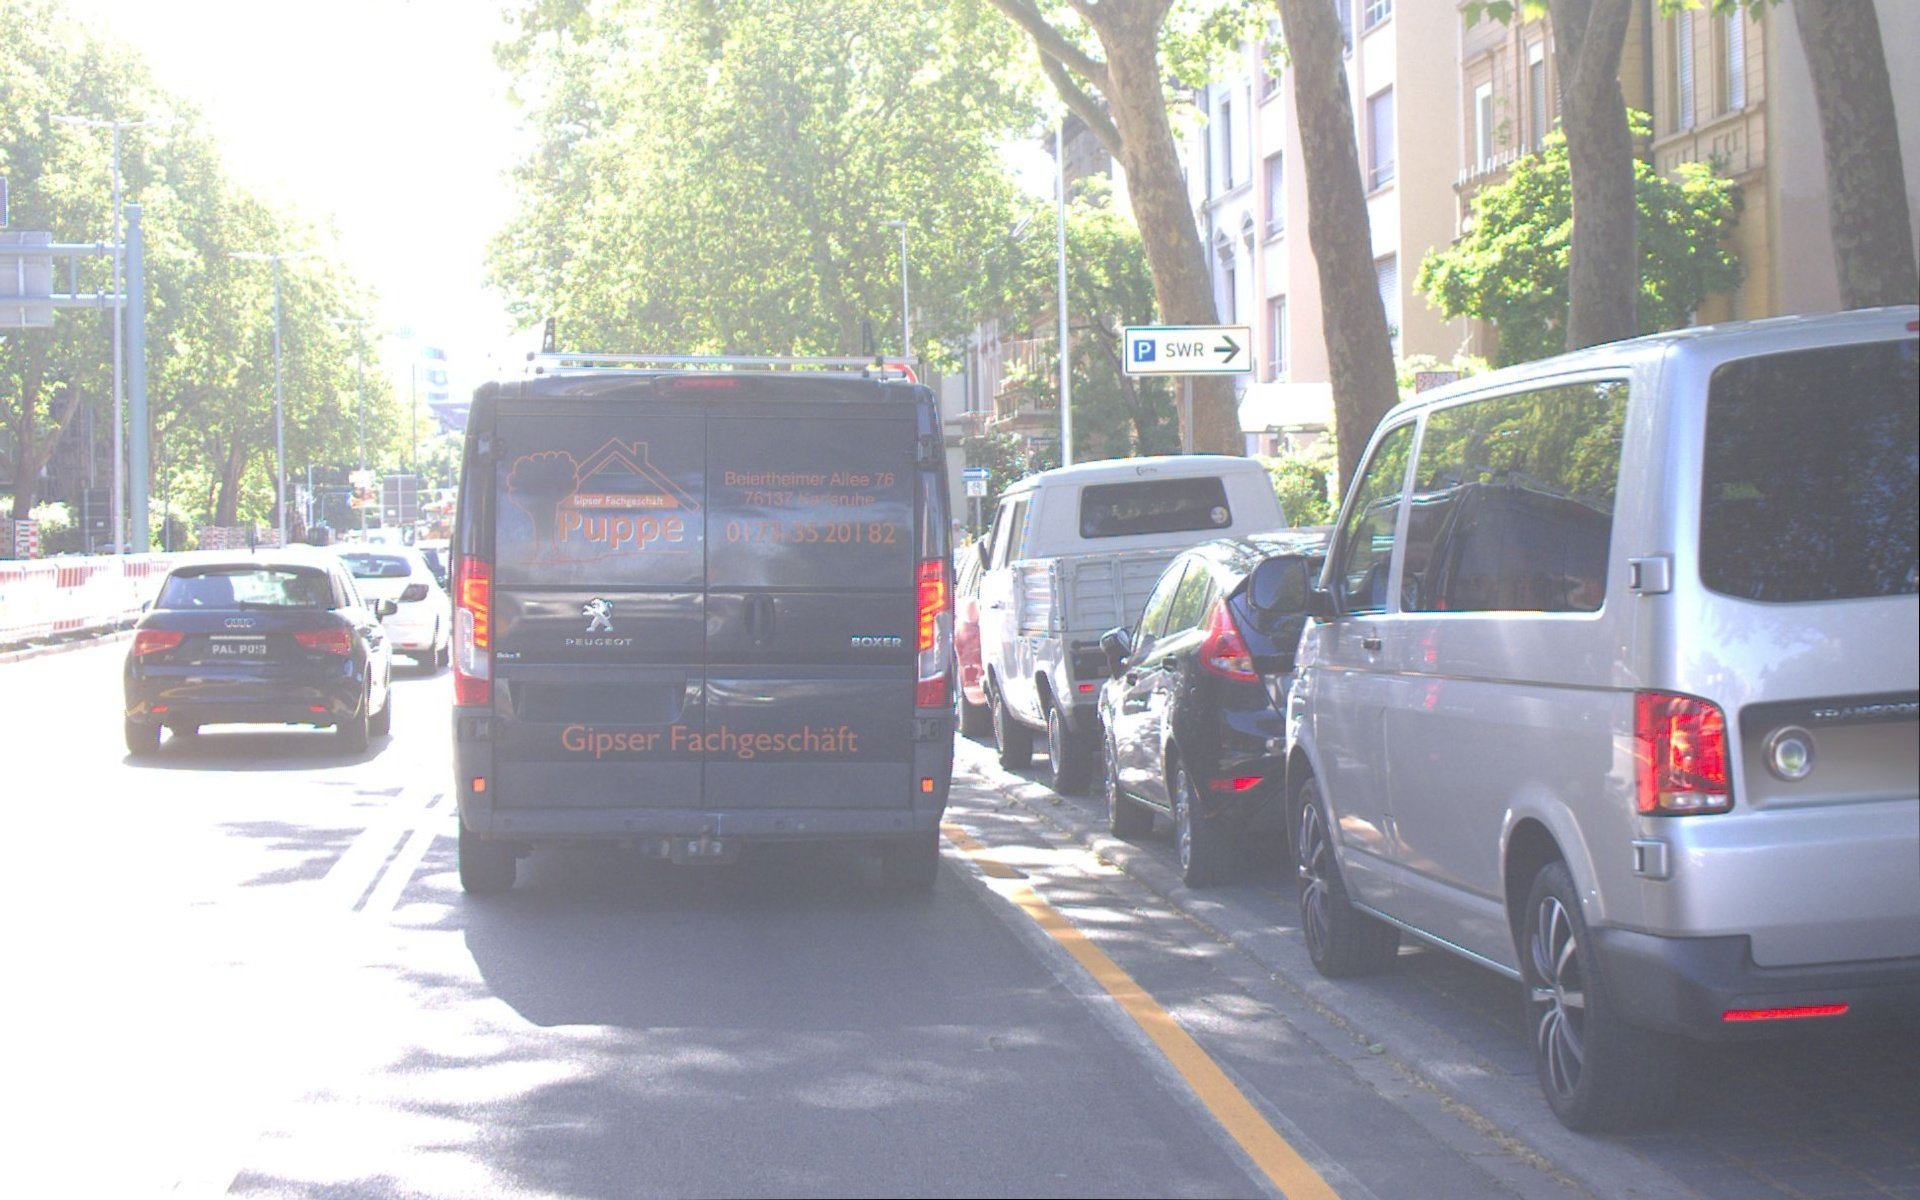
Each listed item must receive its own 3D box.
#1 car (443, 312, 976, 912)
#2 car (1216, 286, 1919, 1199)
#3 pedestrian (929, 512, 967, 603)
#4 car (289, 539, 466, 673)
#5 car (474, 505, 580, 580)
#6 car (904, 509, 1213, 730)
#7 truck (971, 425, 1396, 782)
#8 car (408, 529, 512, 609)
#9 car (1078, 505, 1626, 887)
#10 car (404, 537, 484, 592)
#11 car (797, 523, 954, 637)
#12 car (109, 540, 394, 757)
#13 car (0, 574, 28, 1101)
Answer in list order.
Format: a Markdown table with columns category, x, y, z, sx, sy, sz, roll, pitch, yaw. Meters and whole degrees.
| category | x | y | z | sx | sy | sz | roll | pitch | yaw |
| --- | --- | --- | --- | --- | --- | --- | --- | --- | --- |
| car | -1.199 | -0.017 | 15.522 | 2.095 | 2.347 | 3.934 | 0 | 2 | -6 |
| car | 2.232 | 0.242 | 10.030 | 2.025 | 1.940 | 5.274 | -1 | 1 | -6 |
| pedestrian | -0.269 | -0.957 | 77.426 | 0.798 | 2.007 | 1.168 | -2 | 1 | -1 |
| car | -6.578 | 0.032 | 39.100 | 1.547 | 1.420 | 3.555 | -1 | 1 | -3 |
| car | -9.530 | -1.264 | 75.951 | 1.993 | 1.583 | 4.001 | -1 | 1 | -3 |
| car | 0.660 | 0.099 | 26.619 | 1.821 | 1.502 | 4.678 | -2 | 1 | -5 |
| truck | 1.228 | -0.020 | 20.921 | 1.876 | 1.875 | 4.454 | -2 | 1 | -5 |
| car | -8.095 | -0.513 | 55.862 | 1.421 | 1.221 | 3.438 | -1 | 1 | -4 |
| car | 1.637 | 0.343 | 15.751 | 1.747 | 1.472 | 4.102 | -2 | 1 | -4 |
| car | -14.812 | -1.034 | 98.843 | 1.993 | 1.465 | 4.001 | 0 | 2 | -5 |
| car | -1.212 | -0.302 | 47.401 | 1.844 | 1.437 | 4.488 | -2 | 1 | -5 |
| car | -5.133 | 0.295 | 25.320 | 1.746 | 1.402 | 4.001 | 0 | 2 | -7 |
| car | -3.414 | 0.685 | 7.198 | 1.925 | 1.407 | 4.626 | 0 | 1 | -4 |
